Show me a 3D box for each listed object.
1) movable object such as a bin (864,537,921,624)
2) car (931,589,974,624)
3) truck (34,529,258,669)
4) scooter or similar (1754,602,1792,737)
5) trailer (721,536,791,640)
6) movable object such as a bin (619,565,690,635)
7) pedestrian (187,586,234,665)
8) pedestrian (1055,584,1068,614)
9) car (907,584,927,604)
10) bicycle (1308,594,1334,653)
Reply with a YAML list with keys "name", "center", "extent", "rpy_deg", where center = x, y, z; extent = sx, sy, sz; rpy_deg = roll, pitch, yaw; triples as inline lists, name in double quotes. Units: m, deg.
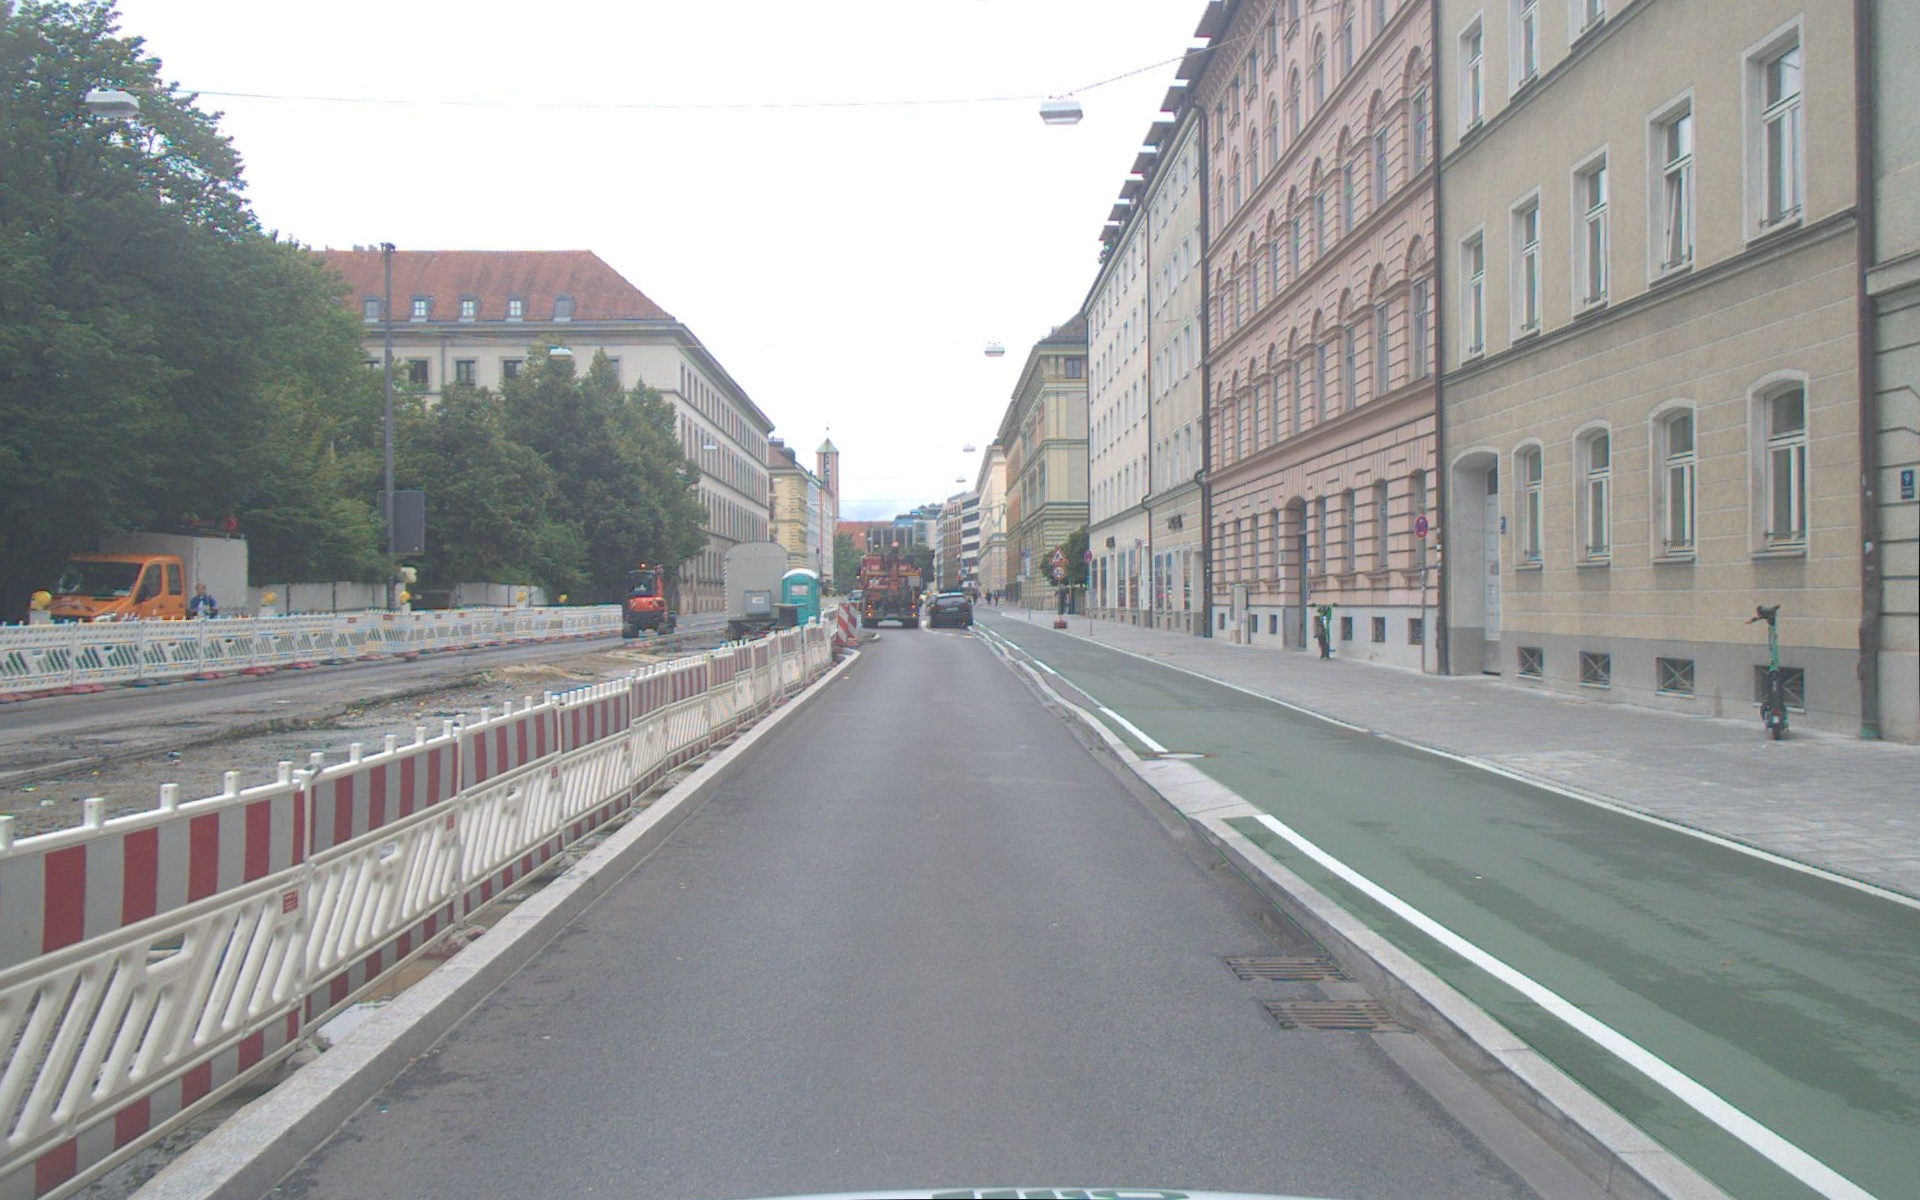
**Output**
- name: "movable object such as a bin"
  center: [-2.953, -0.846, 72.491]
  extent: [2.374, 3.674, 5.849]
  rpy_deg: [0, 0, -2]
- name: "car"
  center: [-0.370, 0.265, 73.943]
  extent: [1.765, 1.506, 4.685]
  rpy_deg: [-1, 0, -2]
- name: "truck"
  center: [-17.422, -0.047, 35.796]
  extent: [1.953, 2.776, 5.870]
  rpy_deg: [0, 1, 0]
- name: "scooter or similar"
  center: [7.927, 0.660, 16.145]
  extent: [0.241, 1.252, 1.119]
  rpy_deg: [-3, 0, 24]
- name: "trailer"
  center: [-6.900, -0.404, 56.657]
  extent: [2.184, 3.300, 7.510]
  rpy_deg: [-1, 0, -6]
- name: "movable object such as a bin"
  center: [-11.822, -0.020, 64.290]
  extent: [1.884, 2.617, 4.492]
  rpy_deg: [0, 1, 0]
- name: "pedestrian"
  center: [-15.725, 0.528, 34.710]
  extent: [0.649, 1.631, 0.698]
  rpy_deg: [0, 0, 0]
- name: "pedestrian"
  center: [6.356, -0.090, 103.332]
  extent: [0.774, 1.868, 0.777]
  rpy_deg: [-1, 0, 0]
- name: "car"
  center: [-3.465, -0.491, 132.747]
  extent: [1.577, 1.521, 3.423]
  rpy_deg: [0, 1, -1]
- name: "bicycle"
  center: [7.581, 0.476, 34.704]
  extent: [0.417, 1.194, 1.733]
  rpy_deg: [-1, 0, 16]
